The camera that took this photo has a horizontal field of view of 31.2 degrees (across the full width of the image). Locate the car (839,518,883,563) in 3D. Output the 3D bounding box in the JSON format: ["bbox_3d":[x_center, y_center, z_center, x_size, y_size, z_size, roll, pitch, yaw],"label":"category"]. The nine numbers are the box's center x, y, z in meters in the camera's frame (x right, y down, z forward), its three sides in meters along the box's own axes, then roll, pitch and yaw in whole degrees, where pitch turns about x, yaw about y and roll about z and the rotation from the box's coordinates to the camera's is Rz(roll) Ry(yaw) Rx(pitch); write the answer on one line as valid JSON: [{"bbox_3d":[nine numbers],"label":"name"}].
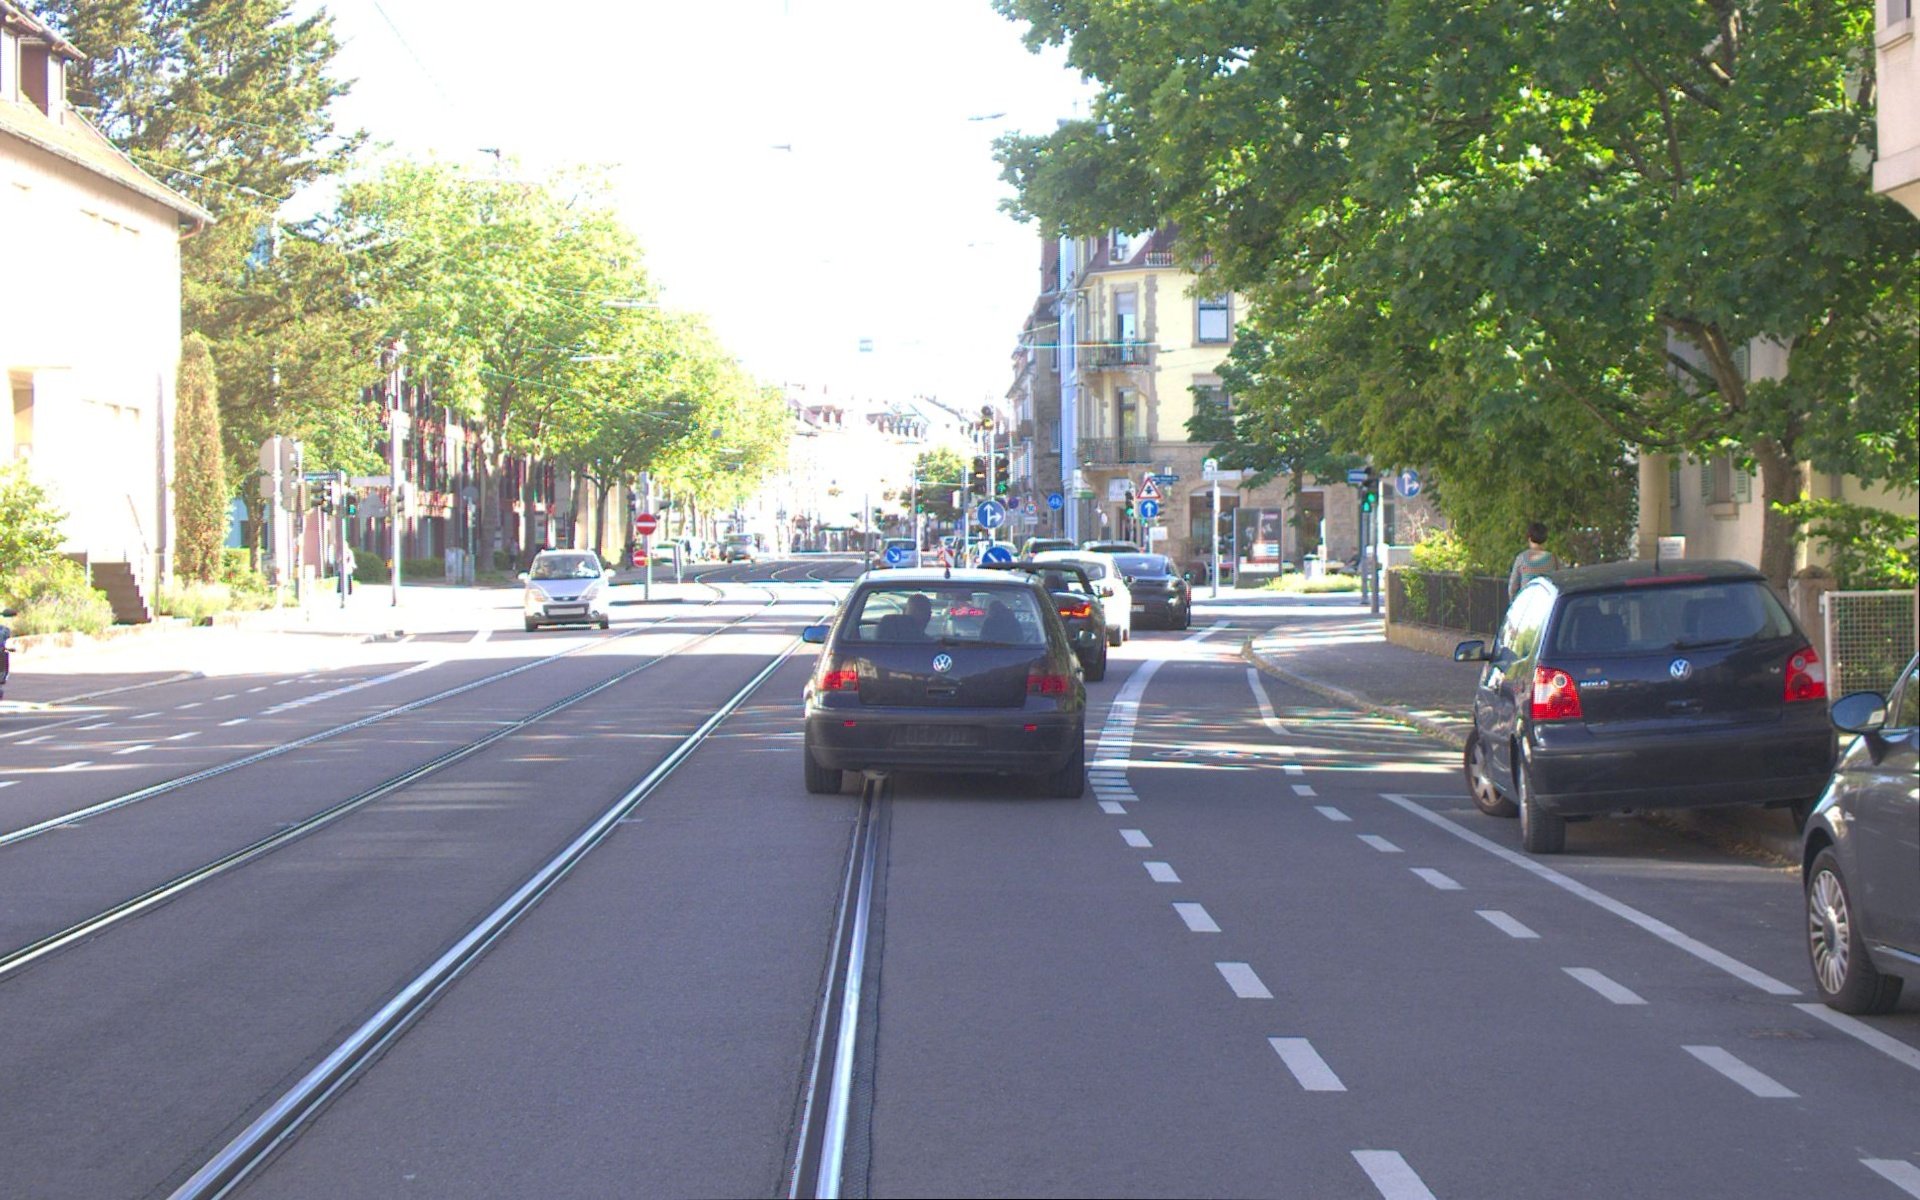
[{"bbox_3d":[-4.198,-2.523,145.271,1.787,1.853,4.001,-1,1,-2],"label":"car"}]

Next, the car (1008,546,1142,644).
[{"bbox_3d":[1.829,-0.103,53.634,1.740,1.436,3.808,0,1,7],"label":"car"}]

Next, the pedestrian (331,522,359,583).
[{"bbox_3d":[-17.416,-1.344,97.338,0.609,1.684,0.734,2,1,-19],"label":"pedestrian"}]

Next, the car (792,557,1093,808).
[{"bbox_3d":[-0.090,0.454,21.986,1.716,1.398,4.006,1,1,0],"label":"car"}]

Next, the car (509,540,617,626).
[{"bbox_3d":[-7.177,-0.331,62.385,1.575,1.472,3.441,-1,1,-1],"label":"car"}]

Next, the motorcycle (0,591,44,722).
[{"bbox_3d":[-8.921,0.522,31.323,0.536,1.158,2.172,-2,1,0],"label":"motorcycle"}]

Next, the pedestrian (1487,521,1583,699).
[{"bbox_3d":[5.563,0.089,33.299,0.717,1.682,0.870,-2,1,-2],"label":"pedestrian"}]

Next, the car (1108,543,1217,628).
[{"bbox_3d":[3.645,-0.287,62.264,1.569,1.306,3.648,-1,3,-3],"label":"car"}]

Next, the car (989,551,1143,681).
[{"bbox_3d":[1.172,0.148,39.312,1.634,1.367,3.757,-1,1,0],"label":"car"}]

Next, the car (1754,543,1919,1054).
[{"bbox_3d":[3.685,0.614,10.317,1.601,1.520,3.550,1,1,-3],"label":"car"}]

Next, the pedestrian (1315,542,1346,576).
[{"bbox_3d":[13.177,-1.452,122.301,0.979,1.183,0.743,0,1,-1],"label":"pedestrian"}]

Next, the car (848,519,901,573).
[{"bbox_3d":[-3.119,-1.968,124.590,1.787,1.853,4.001,2,1,-2],"label":"car"}]

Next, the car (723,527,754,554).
[{"bbox_3d":[-14.998,-4.023,232.170,1.971,1.809,4.297,-1,1,-5],"label":"car"}]

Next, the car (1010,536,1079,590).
[{"bbox_3d":[2.324,-1.029,95.272,1.681,1.448,3.379,-1,1,-2],"label":"car"}]

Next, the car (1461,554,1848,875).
[{"bbox_3d":[3.716,0.543,18.940,1.666,1.558,3.770,1,1,5],"label":"car"}]
